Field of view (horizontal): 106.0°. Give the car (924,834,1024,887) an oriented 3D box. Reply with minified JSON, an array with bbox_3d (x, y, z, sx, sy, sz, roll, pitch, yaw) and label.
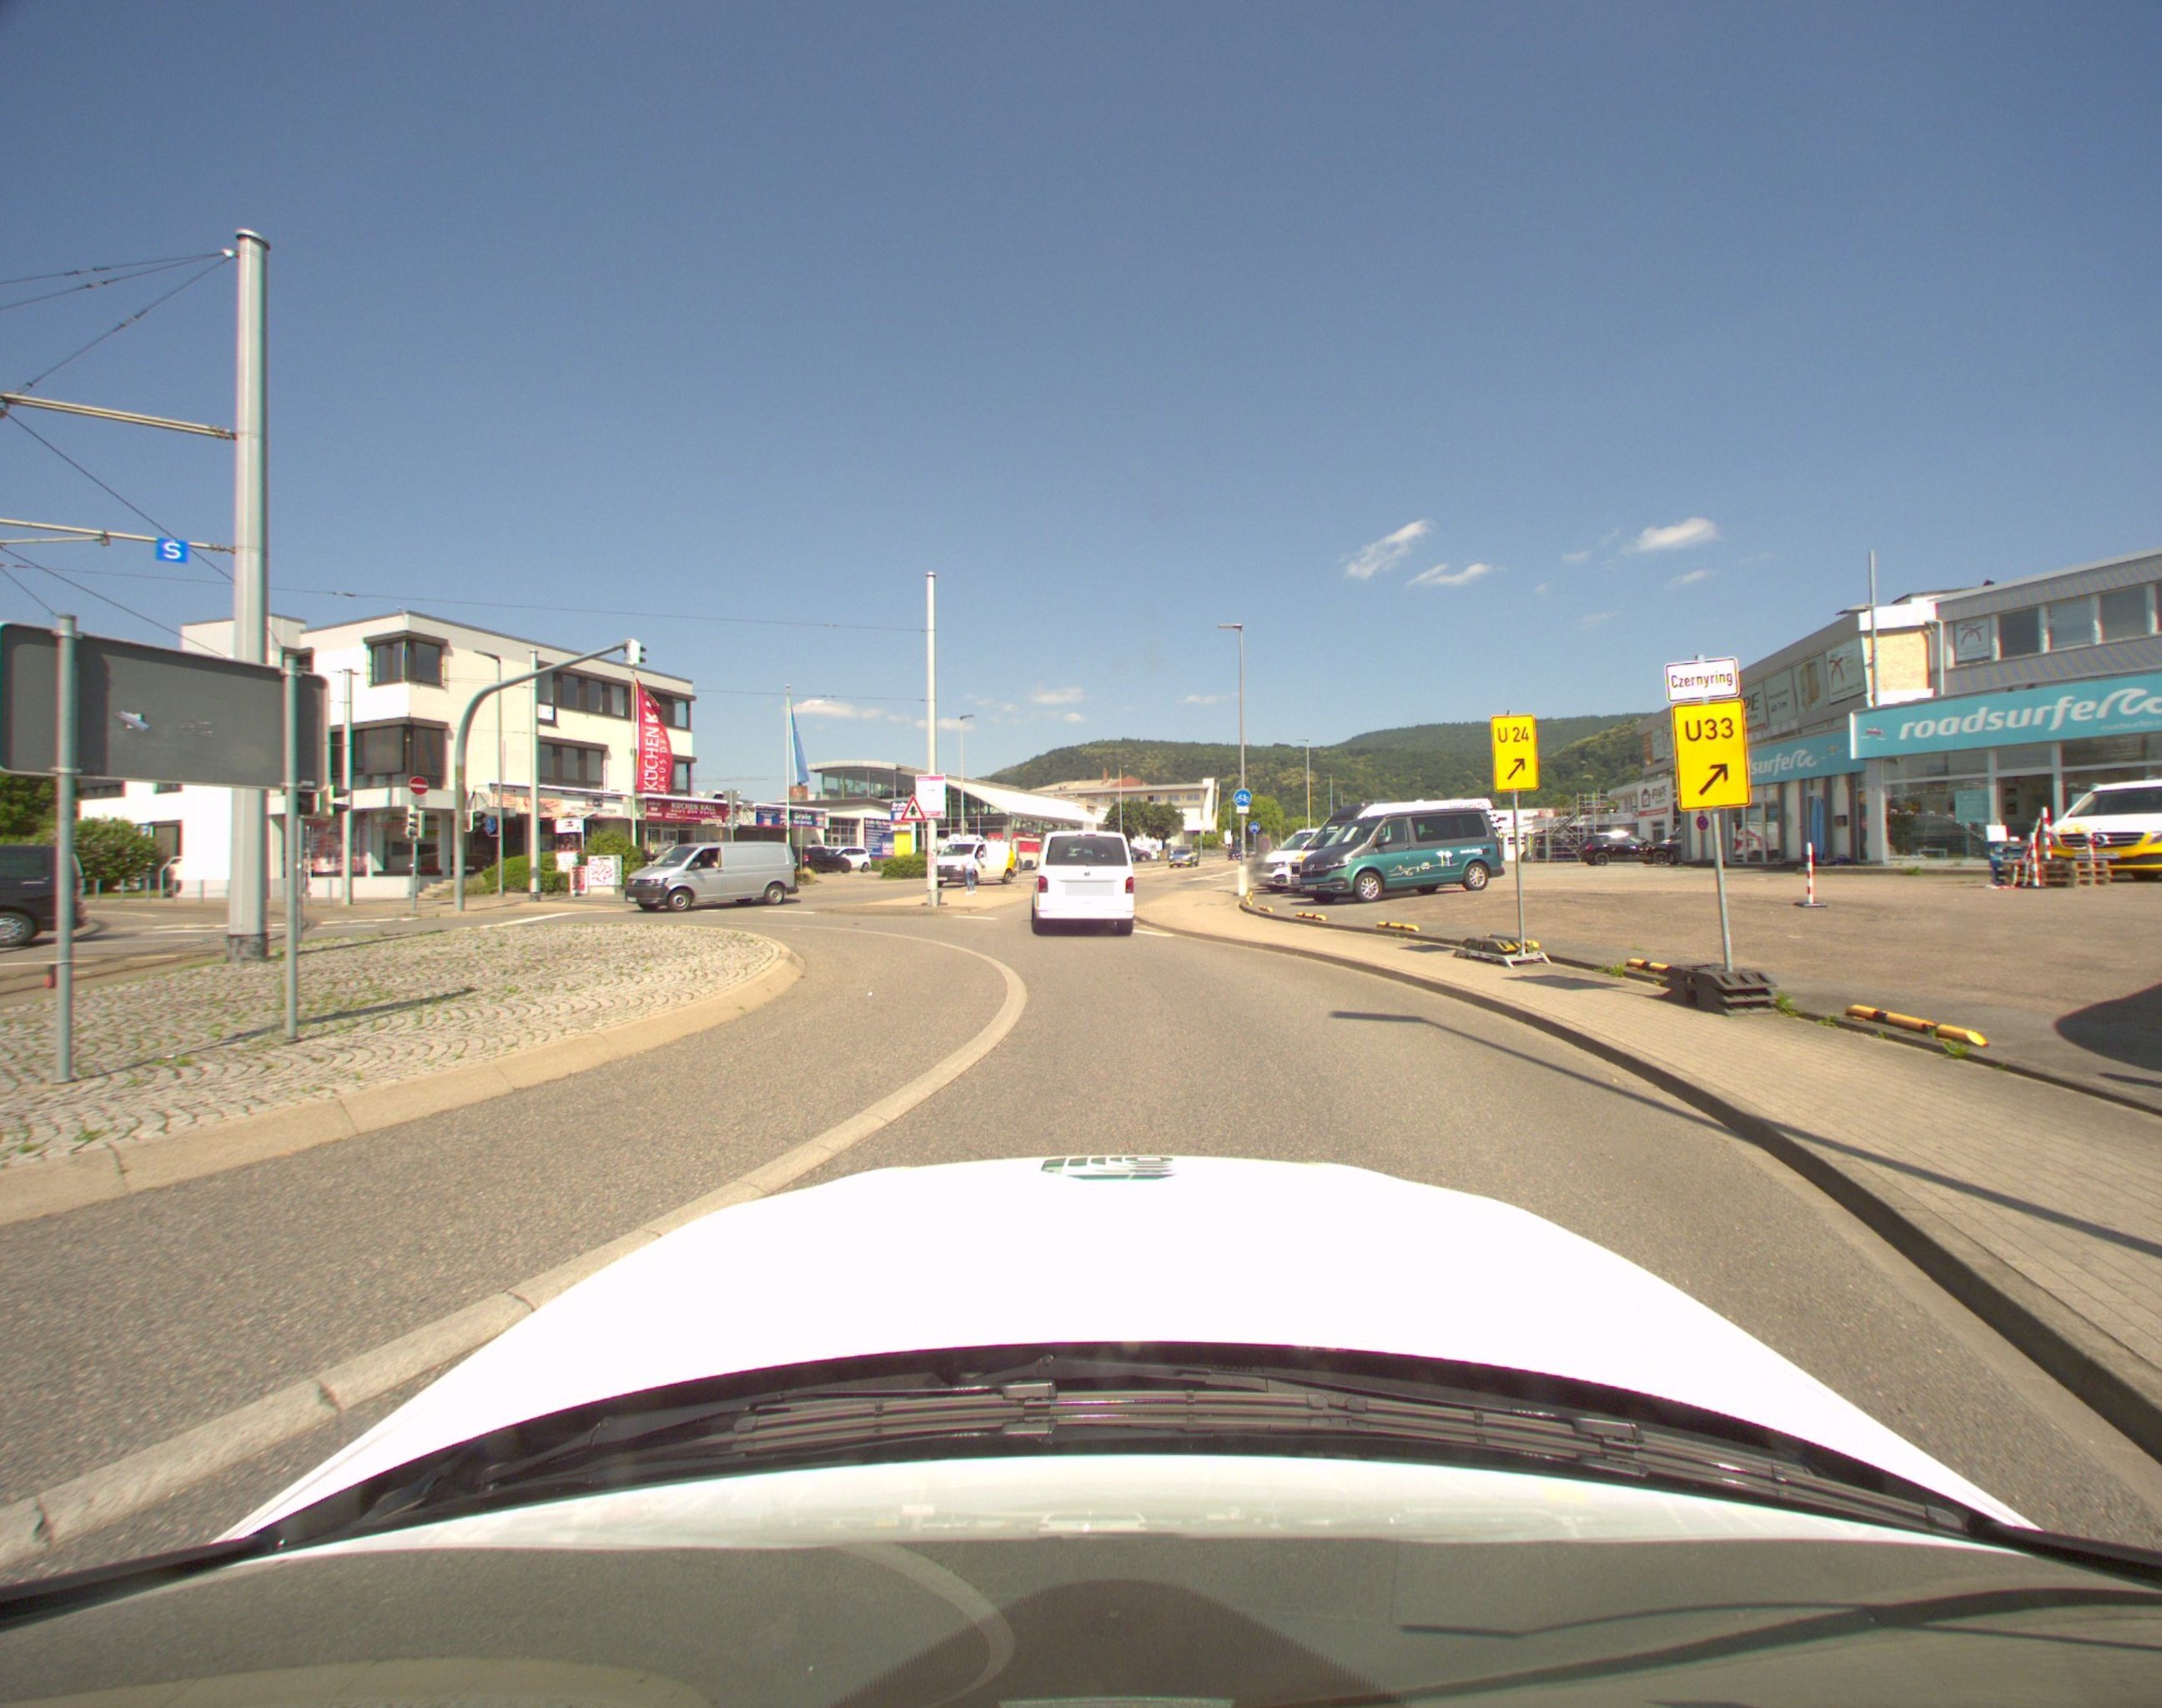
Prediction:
[{"bbox_3d":[-4.522,0.214,35.326,2.003,2.114,4.962,0,1,23],"label":"car"}]

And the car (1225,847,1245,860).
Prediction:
[{"bbox_3d":[18.288,-0.095,96.639,1.826,1.464,4.020,-1,0,19],"label":"car"}]

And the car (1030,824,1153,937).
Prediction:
[{"bbox_3d":[0.042,0.459,17.180,2.158,2.013,5.010,0,0,-5],"label":"car"}]

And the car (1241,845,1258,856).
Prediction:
[{"bbox_3d":[23.948,-0.470,115.670,1.826,1.464,4.019,-1,0,18],"label":"car"}]

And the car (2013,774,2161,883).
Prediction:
[{"bbox_3d":[20.657,-0.484,15.479,5.101,1.877,2.084,-1,-1,-19],"label":"car"}]

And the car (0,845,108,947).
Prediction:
[{"bbox_3d":[-21.840,0.805,15.153,2.072,1.910,4.667,0,1,43],"label":"car"}]

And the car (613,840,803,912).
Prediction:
[{"bbox_3d":[-10.932,0.577,24.262,1.908,1.935,4.860,0,0,33],"label":"car"}]

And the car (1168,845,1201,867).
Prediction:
[{"bbox_3d":[8.713,0.118,68.340,1.893,1.760,4.473,-1,0,18],"label":"car"}]

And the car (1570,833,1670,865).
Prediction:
[{"bbox_3d":[27.775,-0.261,42.121,3.953,1.518,1.901,-1,0,20],"label":"car"}]

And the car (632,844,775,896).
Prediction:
[{"bbox_3d":[-15.206,0.587,33.201,1.942,1.965,5.310,-1,0,23],"label":"car"}]

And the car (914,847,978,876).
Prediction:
[{"bbox_3d":[-7.782,0.409,47.360,1.977,1.618,4.020,-1,0,19],"label":"car"}]

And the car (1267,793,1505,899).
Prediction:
[{"bbox_3d":[8.565,-0.278,22.950,6.151,2.717,2.294,-1,0,-17],"label":"car"}]

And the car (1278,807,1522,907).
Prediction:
[{"bbox_3d":[7.479,0.020,19.137,5.225,2.113,2.084,-1,0,-19],"label":"car"}]

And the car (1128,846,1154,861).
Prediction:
[{"bbox_3d":[6.402,-0.044,87.174,1.747,1.585,3.644,-1,0,-13],"label":"car"}]

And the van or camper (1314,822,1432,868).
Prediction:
[{"bbox_3d":[17.387,-0.520,48.590,6.448,2.561,2.990,-1,0,21],"label":"van or camper"}]

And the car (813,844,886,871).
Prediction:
[{"bbox_3d":[-14.488,0.200,51.362,1.865,1.588,4.952,-3,-1,19],"label":"car"}]

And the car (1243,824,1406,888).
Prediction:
[{"bbox_3d":[8.518,0.054,28.625,5.134,2.013,1.924,-2,0,-10],"label":"car"}]

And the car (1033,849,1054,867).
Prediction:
[{"bbox_3d":[-3.432,0.382,75.319,1.740,1.585,3.660,-1,0,0],"label":"car"}]

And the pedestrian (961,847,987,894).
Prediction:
[{"bbox_3d":[-3.839,0.576,29.130,0.762,1.656,0.668,0,0,-22],"label":"pedestrian"}]

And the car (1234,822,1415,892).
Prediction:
[{"bbox_3d":[7.623,0.075,25.612,5.150,2.000,2.015,-1,-1,-14],"label":"car"}]

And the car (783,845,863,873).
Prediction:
[{"bbox_3d":[-14.194,0.244,45.078,2.010,1.427,4.338,-1,0,19],"label":"car"}]
